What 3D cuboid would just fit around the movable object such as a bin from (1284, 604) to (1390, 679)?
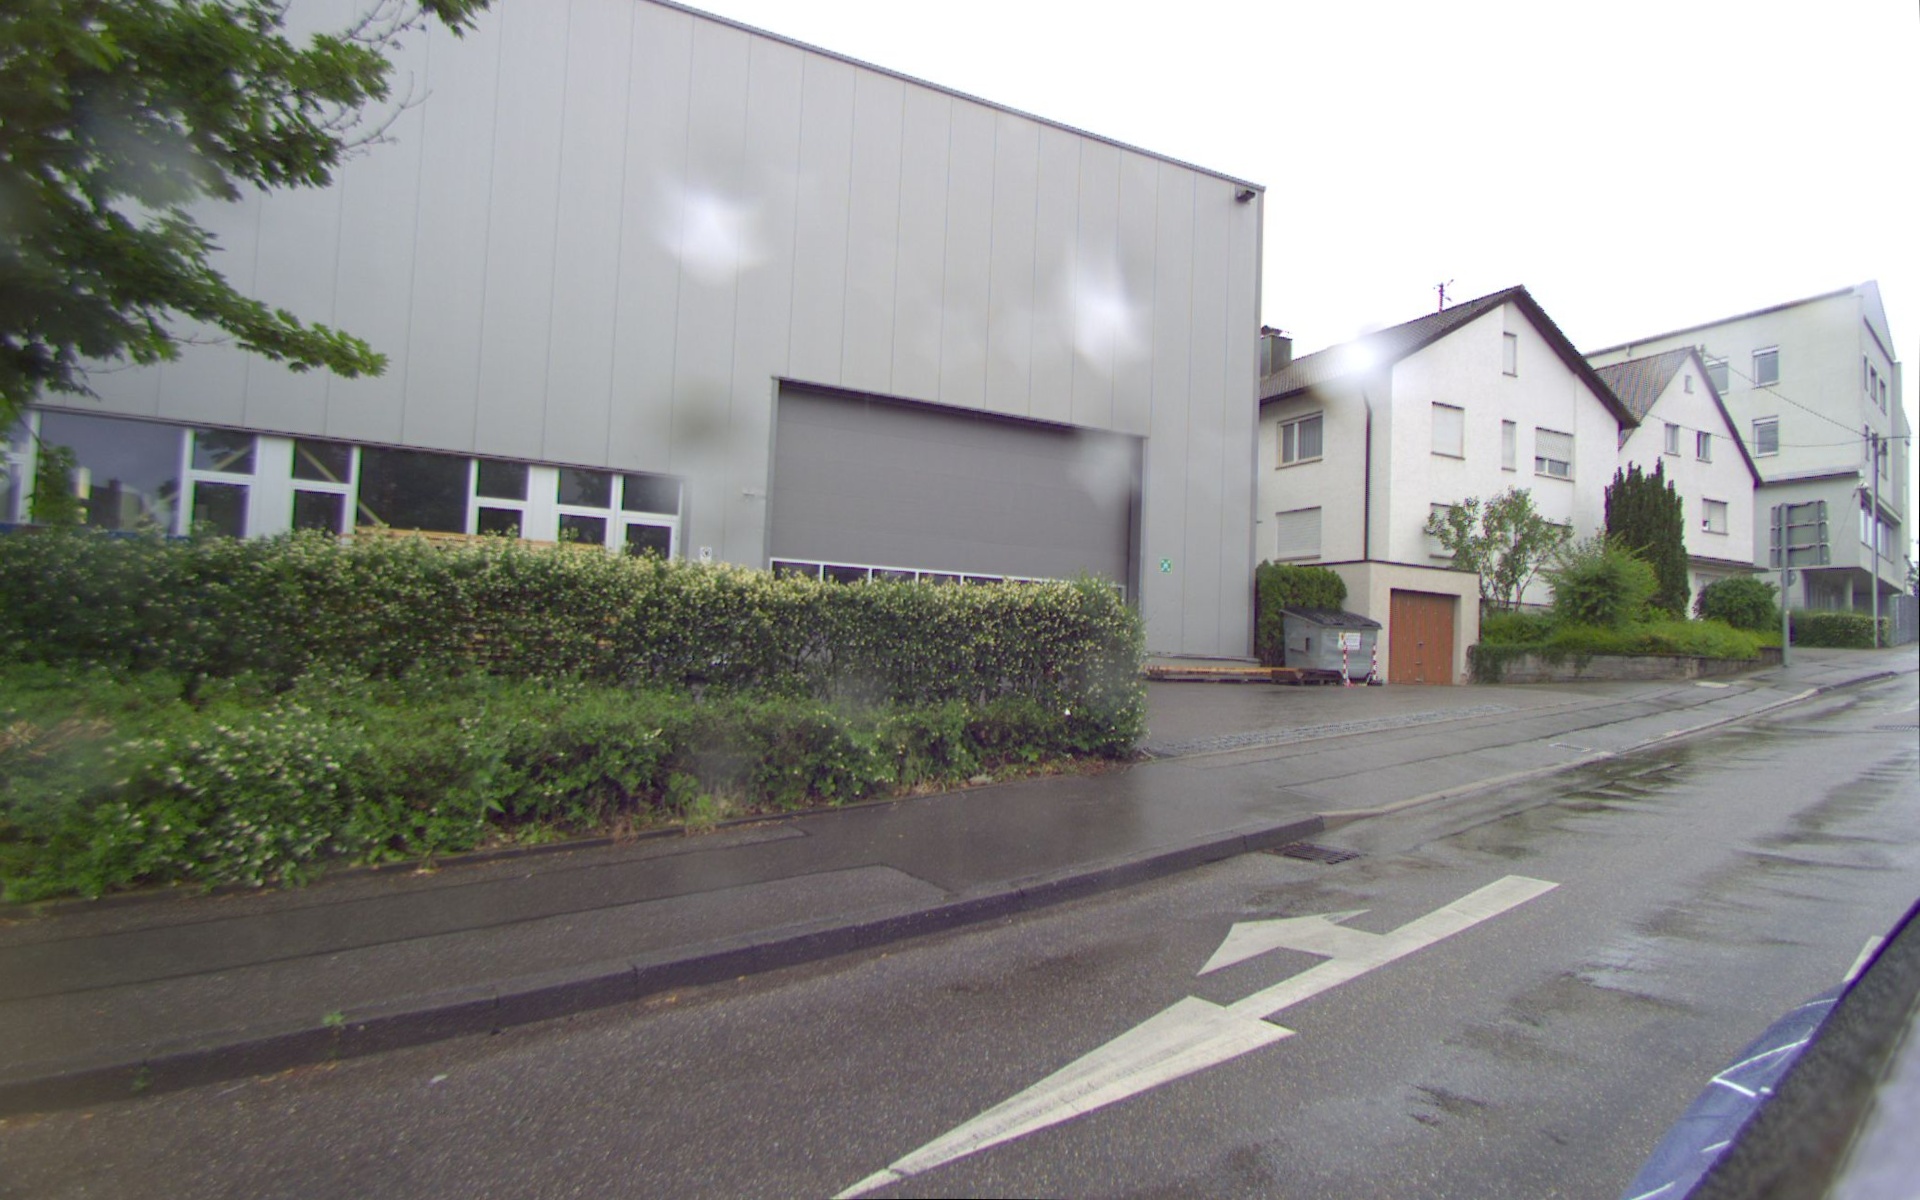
[{"bbox_3d":[8.115,0.874,21.790,1.742,1.537,1.268,1,0,-25],"label":"movable object such as a bin"}]
